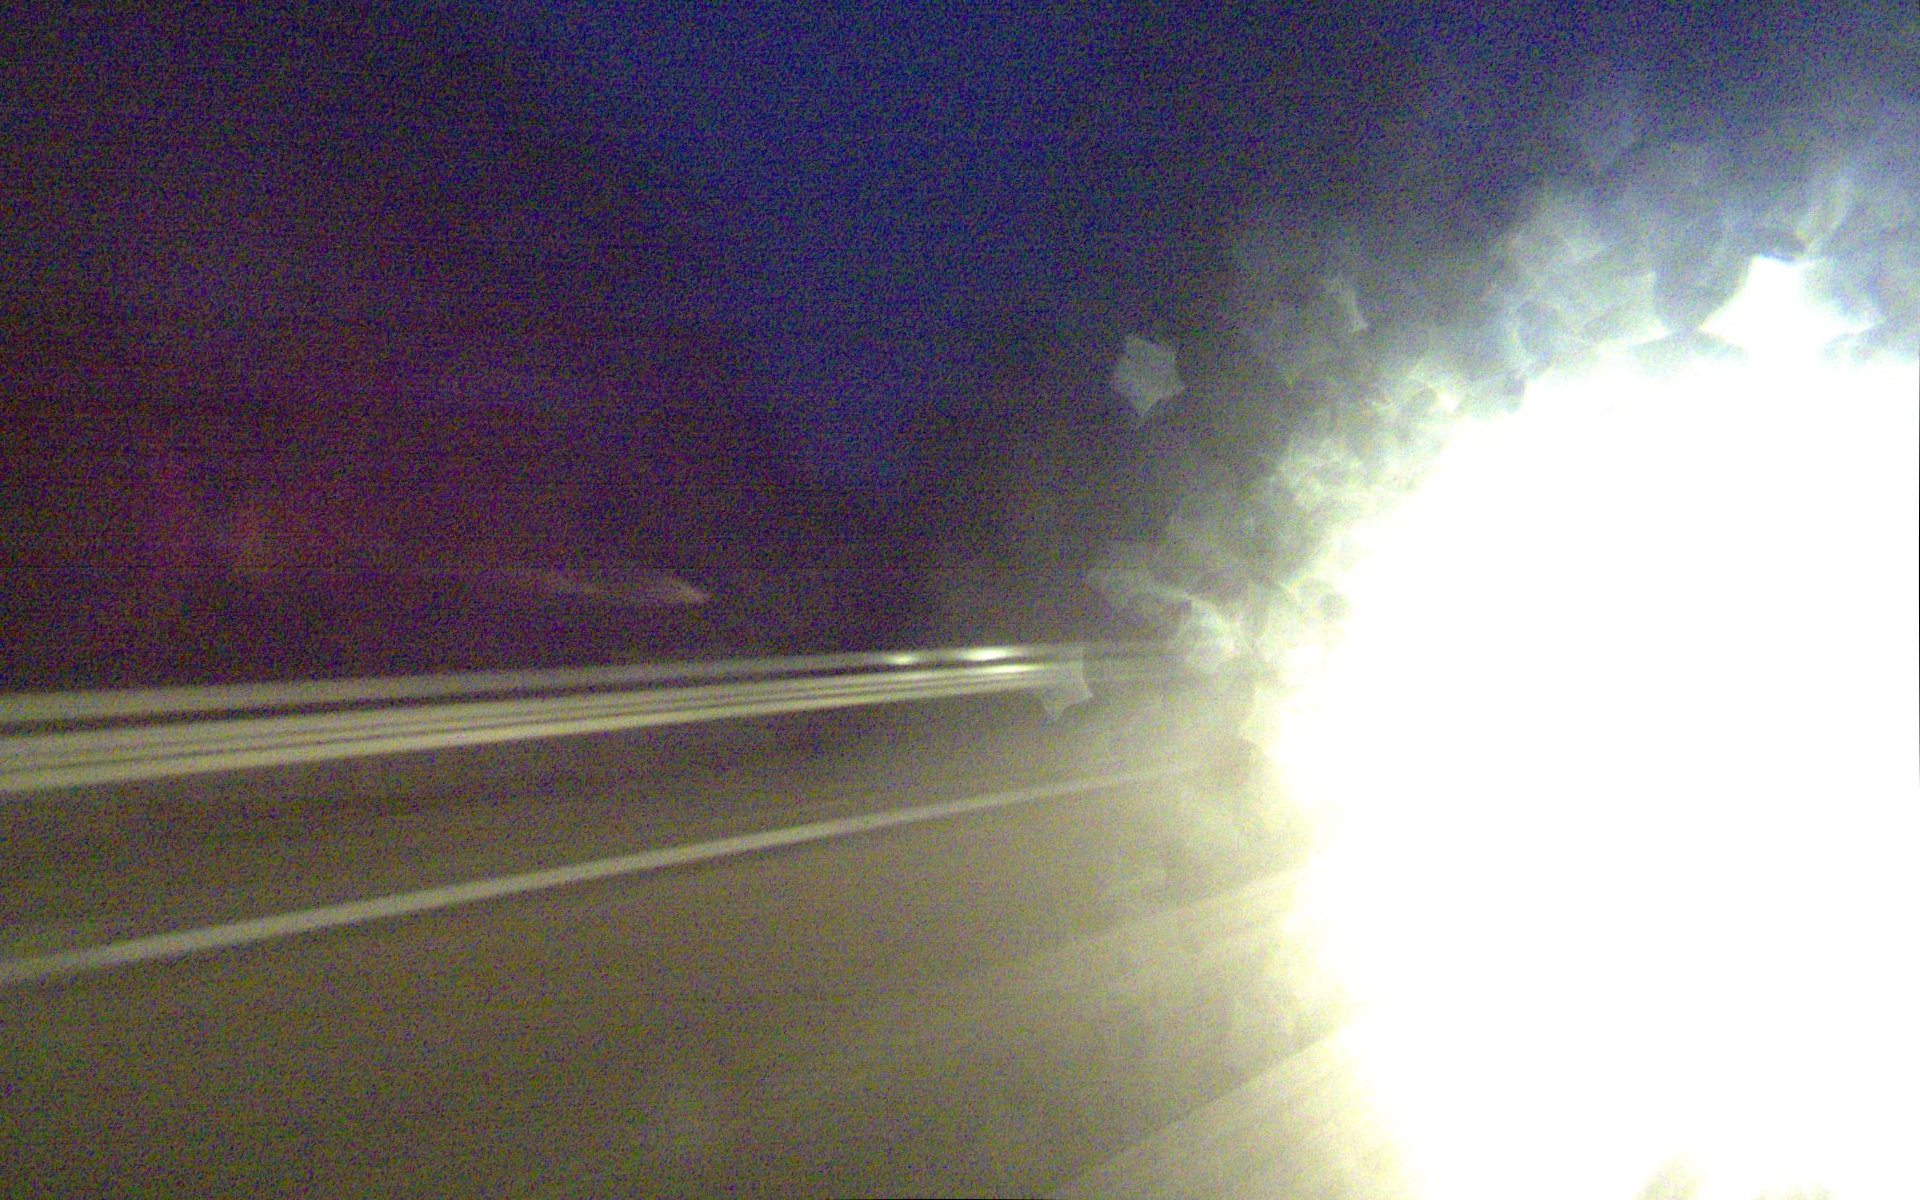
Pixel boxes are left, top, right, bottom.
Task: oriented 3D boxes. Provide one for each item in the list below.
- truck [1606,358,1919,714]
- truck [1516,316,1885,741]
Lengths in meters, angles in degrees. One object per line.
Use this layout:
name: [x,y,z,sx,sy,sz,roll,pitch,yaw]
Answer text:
truck: [15.003,-0.840,17.486,13.399,4.301,2.502,-1,0,-40]
truck: [9.760,-0.758,13.111,5.876,4.301,2.502,-1,0,-40]
